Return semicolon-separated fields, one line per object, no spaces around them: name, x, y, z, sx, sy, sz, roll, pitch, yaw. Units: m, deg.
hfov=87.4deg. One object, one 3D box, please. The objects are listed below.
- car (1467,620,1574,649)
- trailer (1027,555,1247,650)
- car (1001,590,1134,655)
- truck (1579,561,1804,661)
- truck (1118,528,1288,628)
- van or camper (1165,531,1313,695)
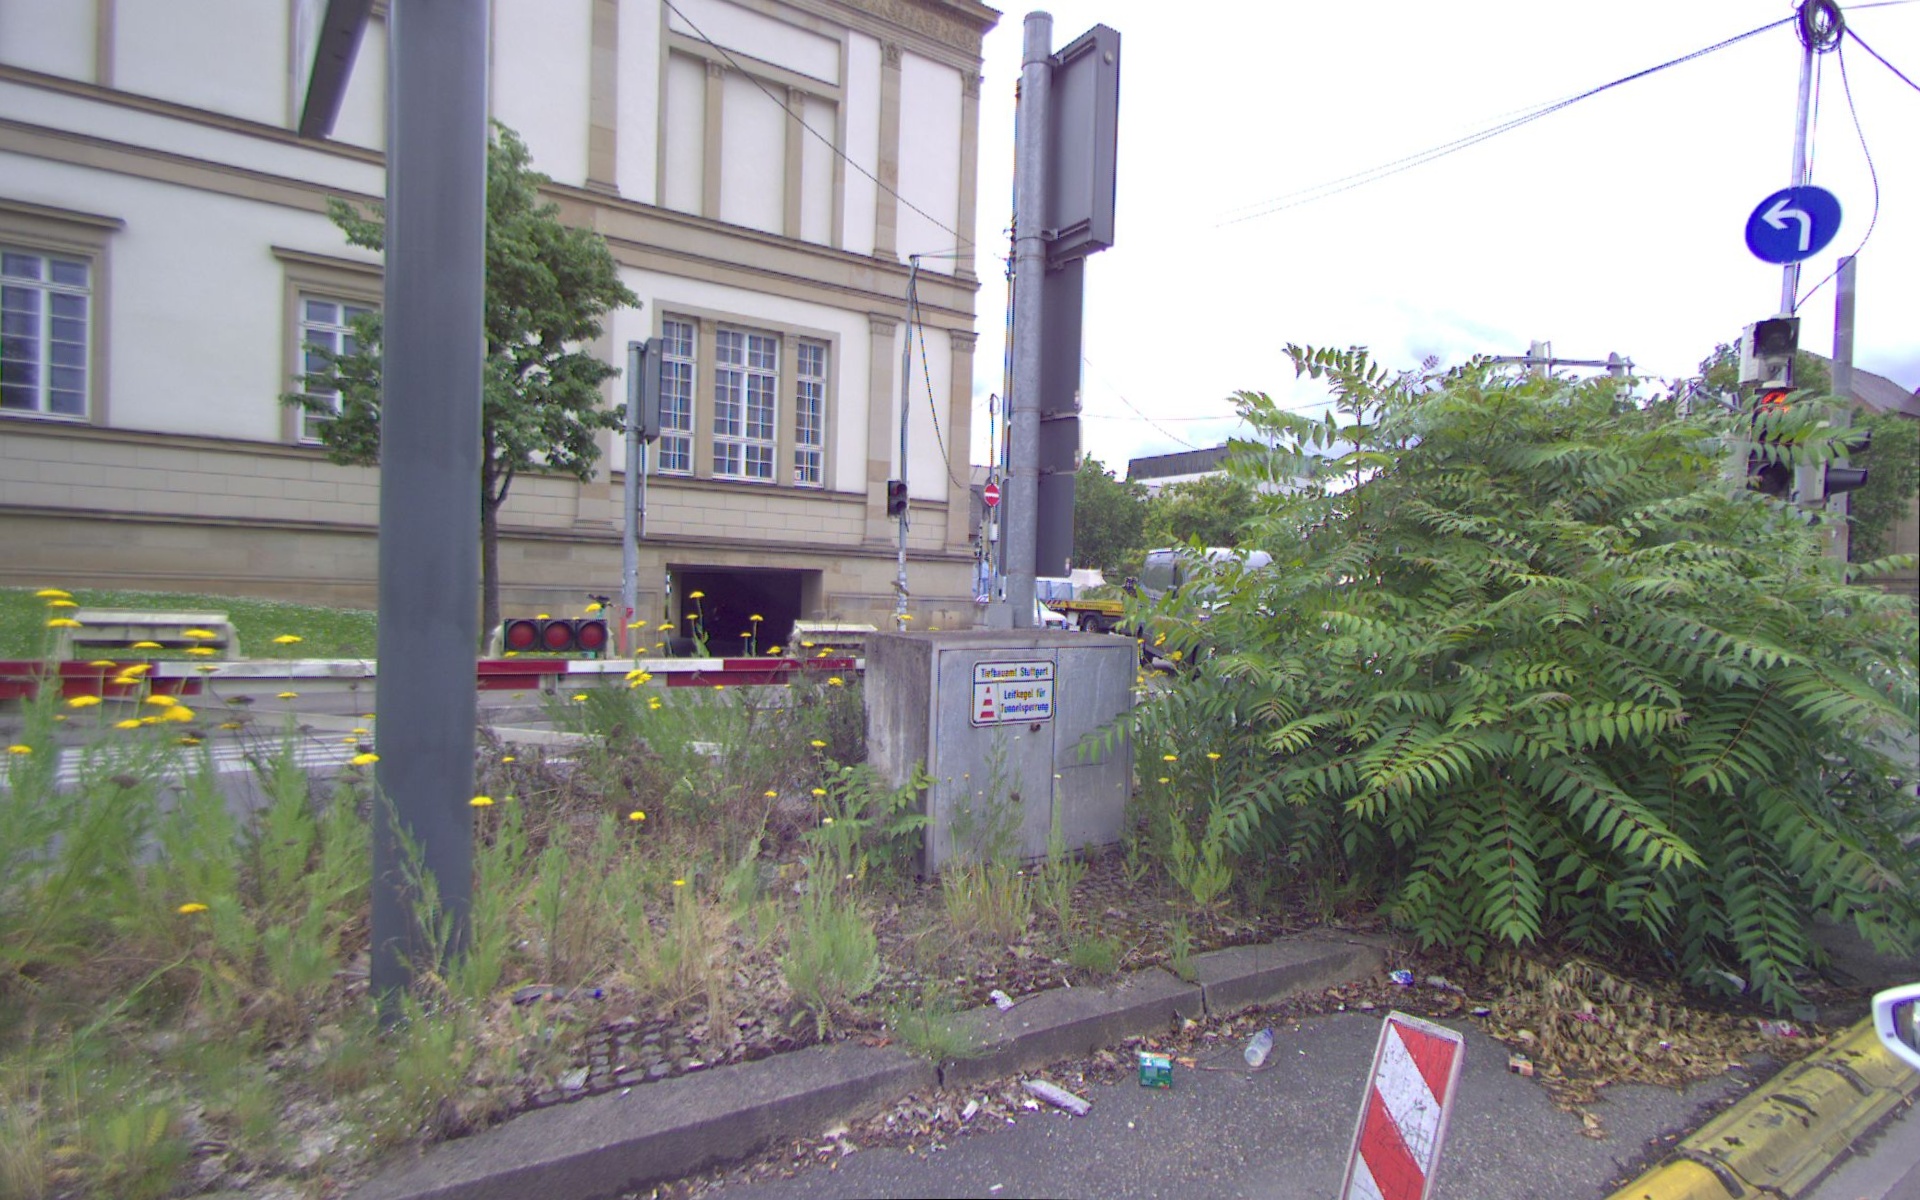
car;31.899;1.934;57.231;5.068;1.438;2.229;2;0;38
trailer;5.587;0.072;33.077;2.833;2.761;7.302;2;0;-34
car;3.129;0.635;30.063;1.889;1.763;3.964;2;0;-32
truck;39.742;0.491;54.907;9.606;5.026;3.097;2;0;42
truck;7.312;-0.628;30.540;2.834;2.761;4.177;2;0;-35
van or camper;5.142;0.198;19.376;2.116;2.645;6.087;1;0;10
